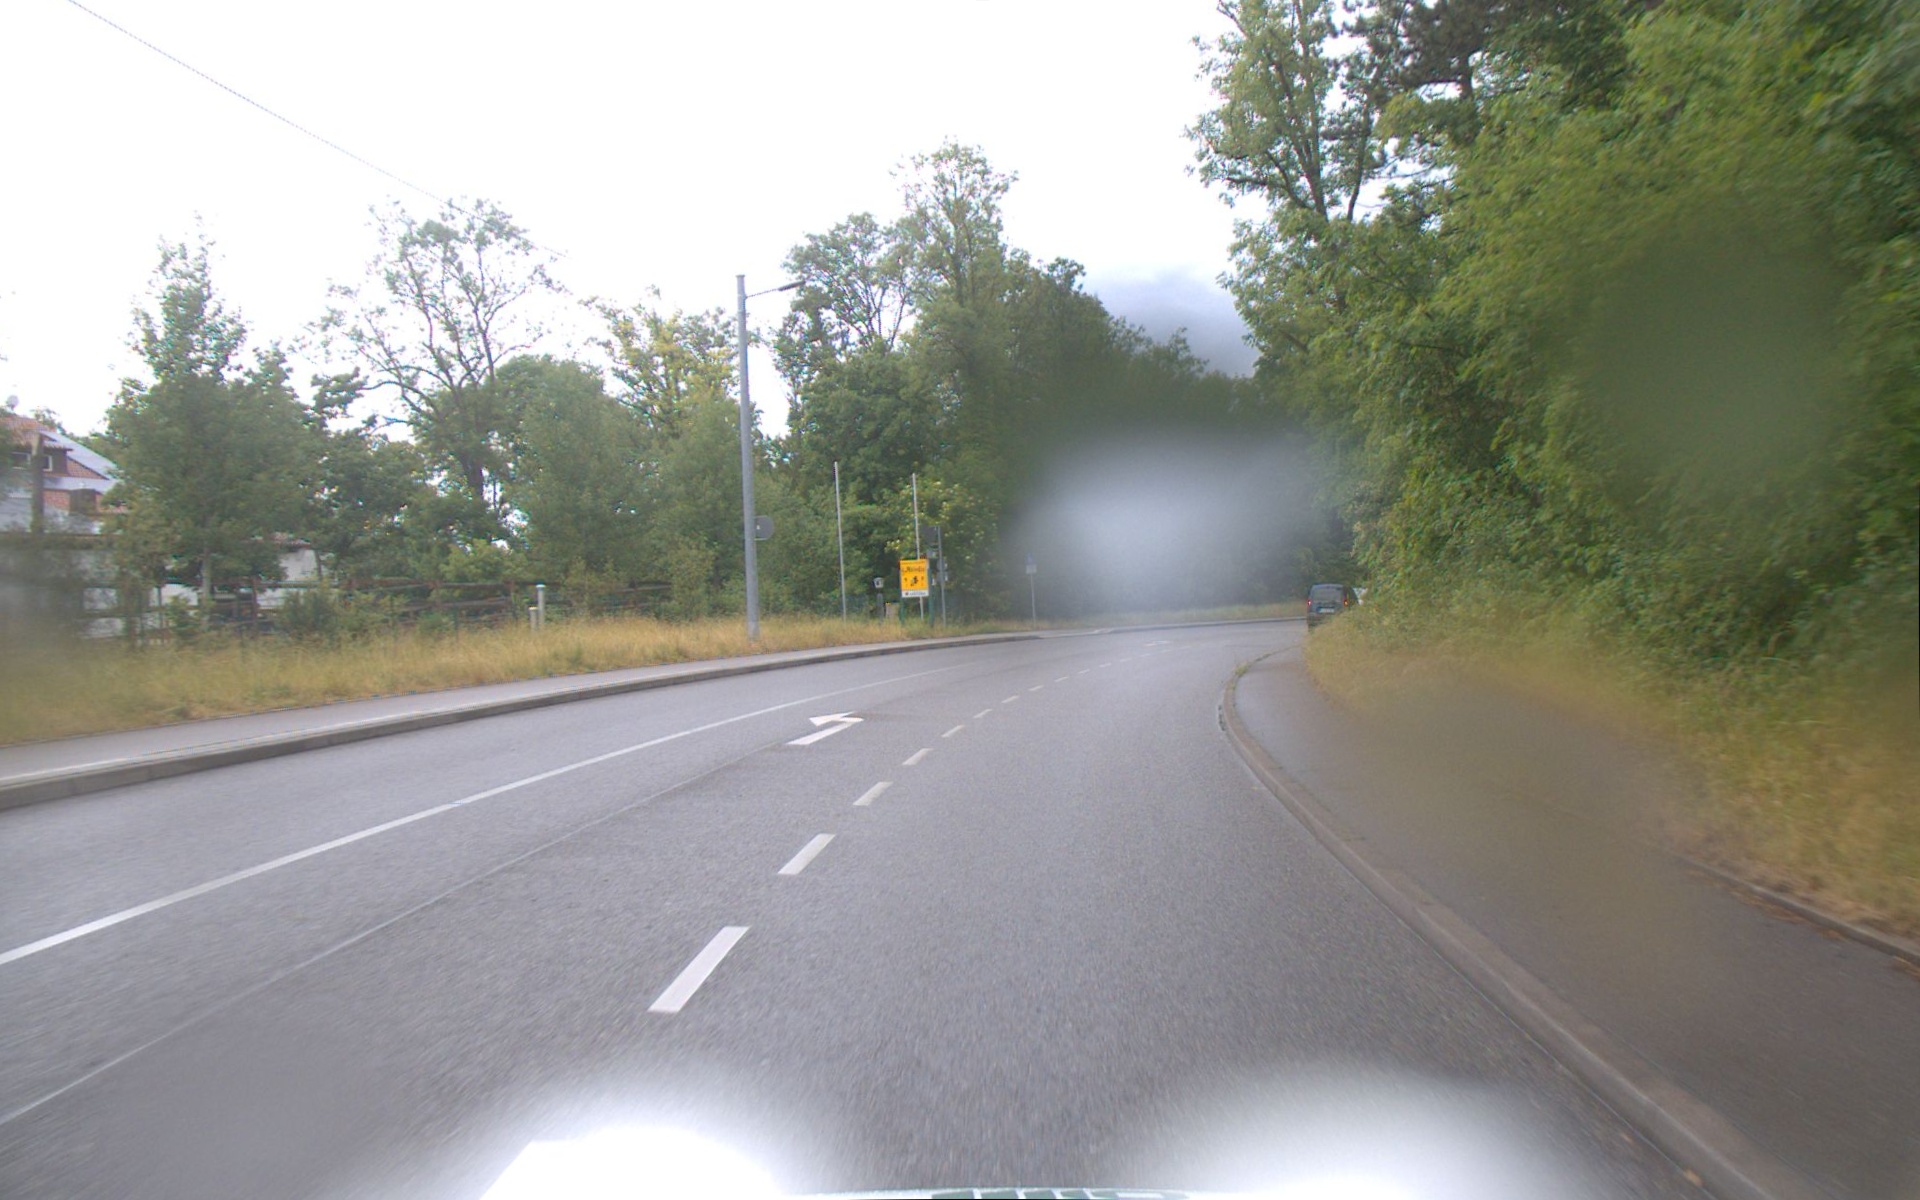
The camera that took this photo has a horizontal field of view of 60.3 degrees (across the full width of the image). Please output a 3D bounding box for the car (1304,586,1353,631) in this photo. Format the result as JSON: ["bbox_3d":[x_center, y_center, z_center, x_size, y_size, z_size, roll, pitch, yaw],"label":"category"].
[{"bbox_3d":[13.938,0.309,62.505,1.632,1.621,3.685,0,0,15],"label":"car"}]
